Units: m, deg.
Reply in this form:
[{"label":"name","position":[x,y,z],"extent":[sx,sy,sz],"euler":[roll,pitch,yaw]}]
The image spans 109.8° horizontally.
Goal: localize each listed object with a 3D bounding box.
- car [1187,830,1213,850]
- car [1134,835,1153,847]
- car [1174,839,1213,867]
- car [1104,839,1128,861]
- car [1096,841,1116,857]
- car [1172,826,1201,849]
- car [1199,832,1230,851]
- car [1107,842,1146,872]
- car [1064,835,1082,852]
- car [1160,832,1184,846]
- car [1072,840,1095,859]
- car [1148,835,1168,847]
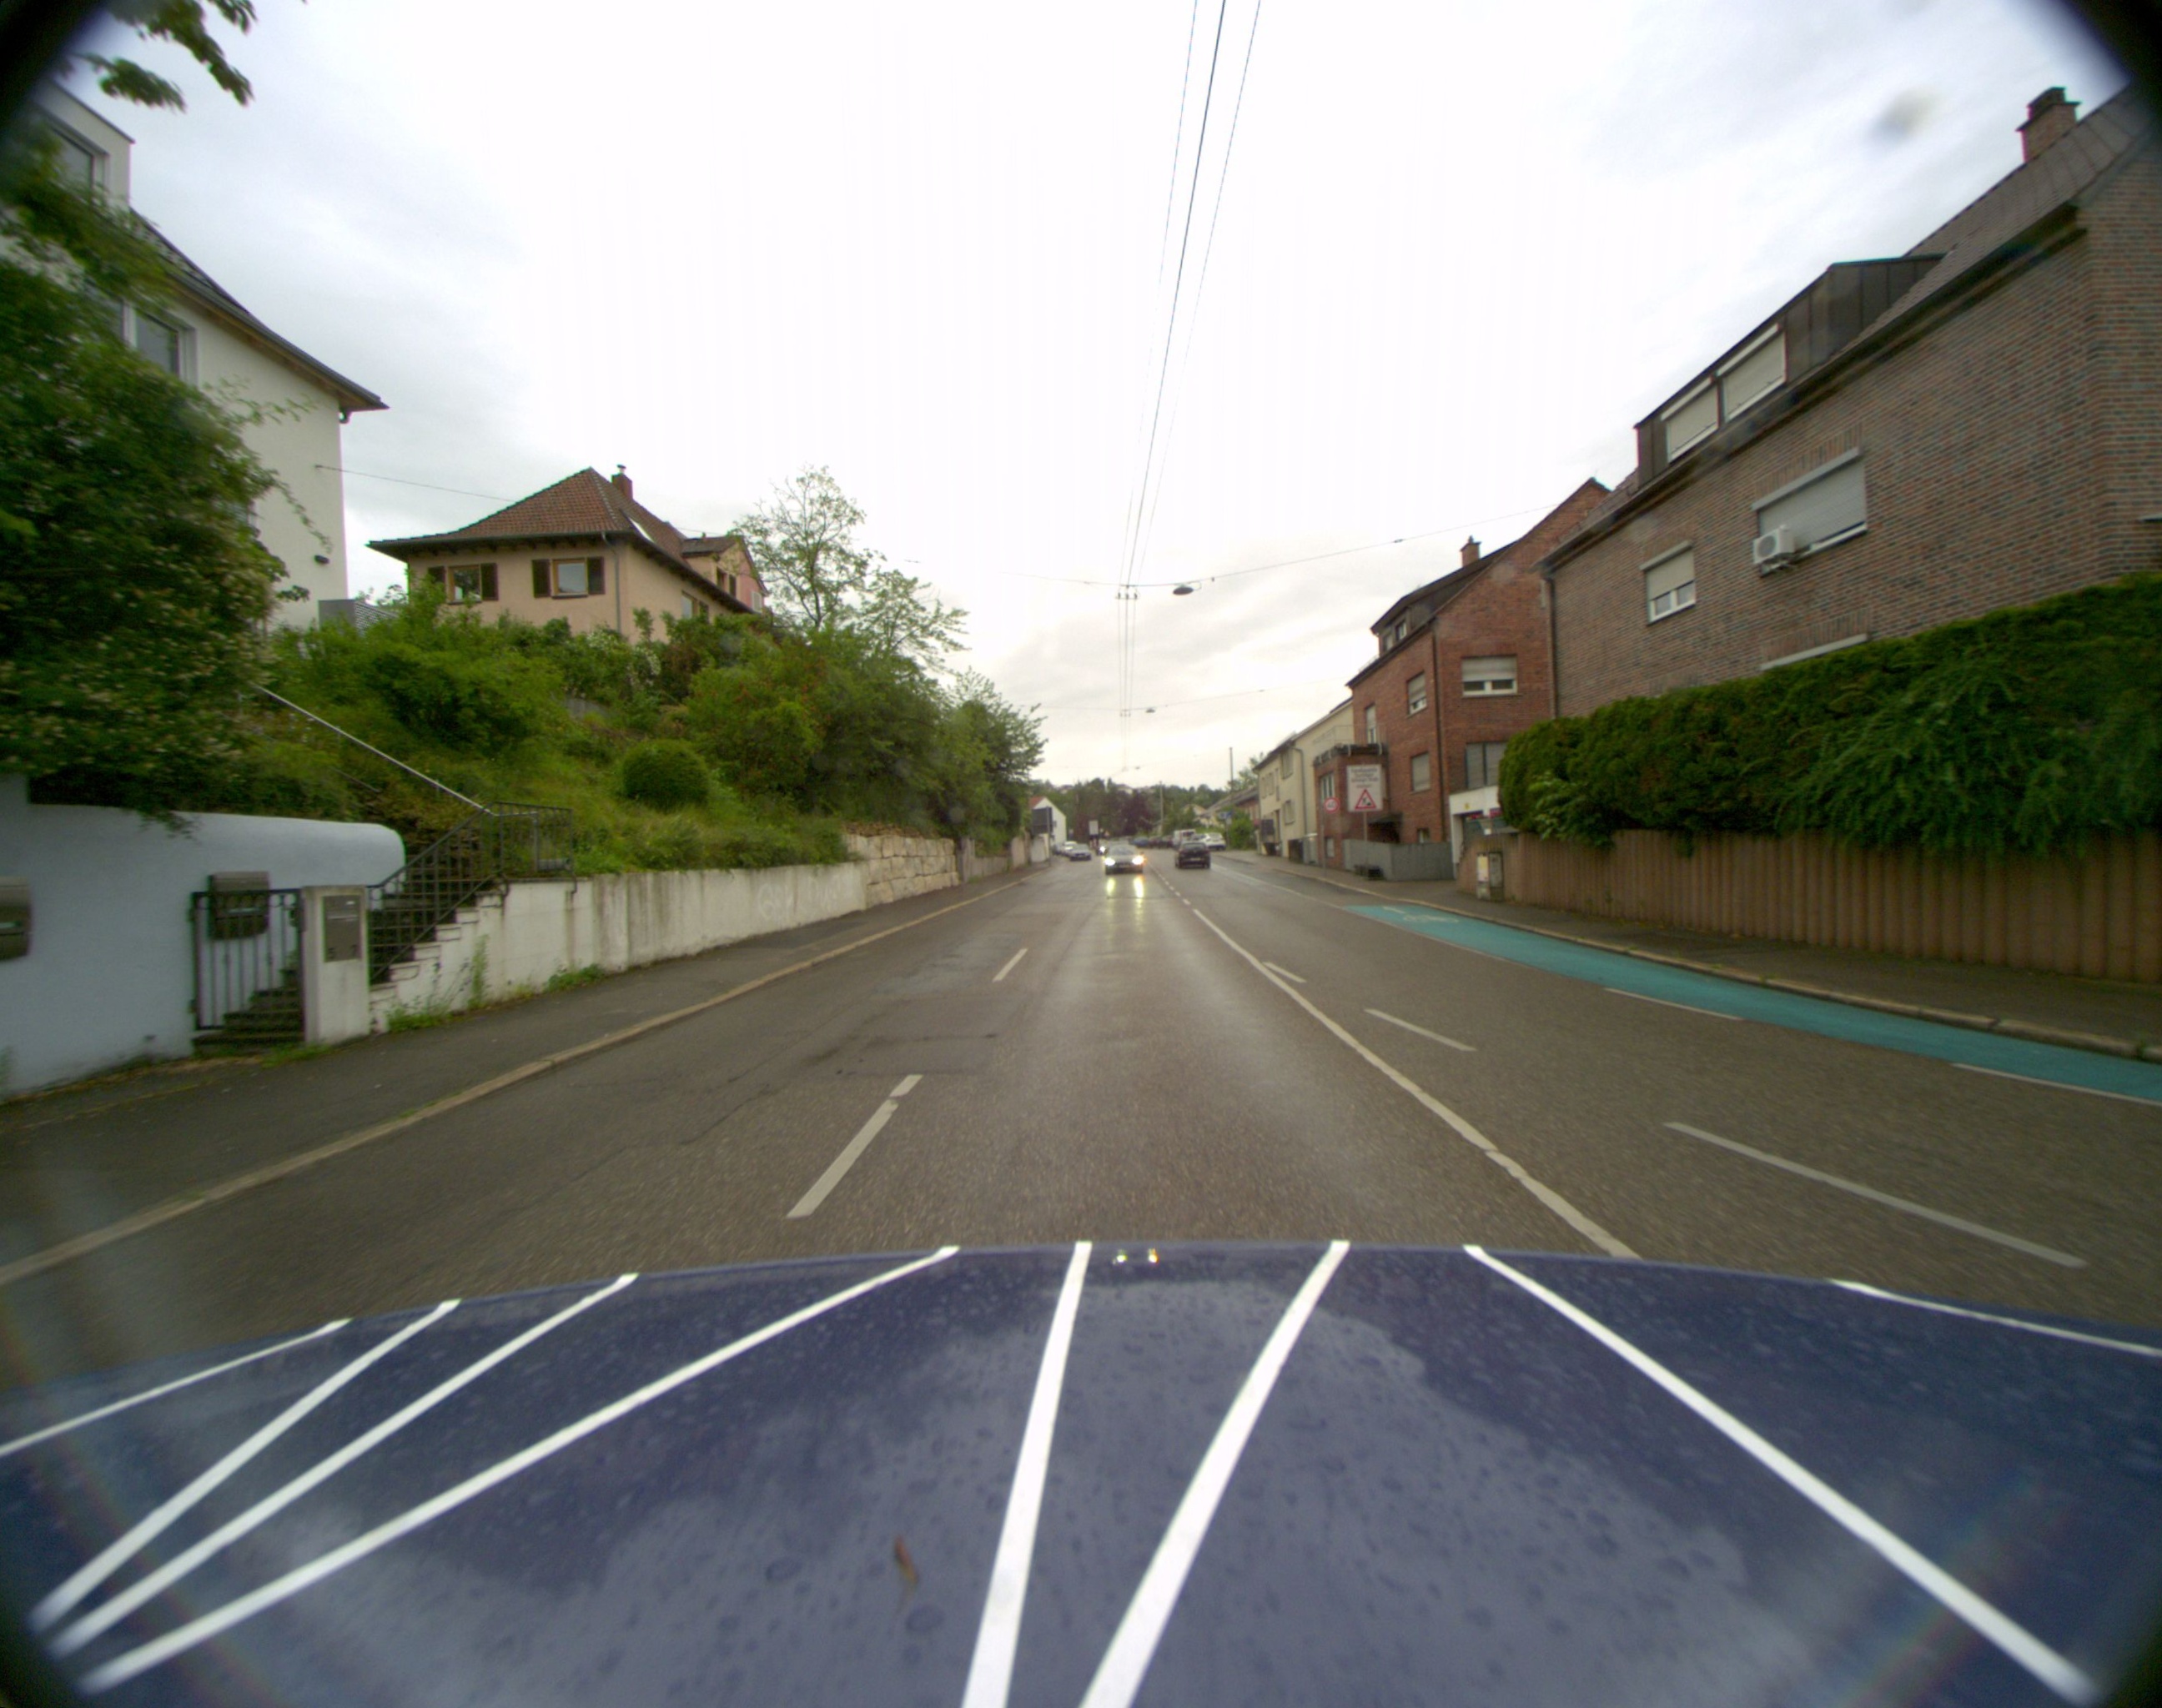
[{"label":"car","position":[12.047,-1.406,77.185],"extent":[1.815,1.793,4.262],"euler":[-3,1,-1]},{"label":"car","position":[8.224,-1.646,99.657],"extent":[1.624,1.482,3.900],"euler":[-3,1,-7]},{"label":"car","position":[6.174,-0.082,42.180],"extent":[1.919,1.438,3.719],"euler":[-1,1,5]},{"label":"car","position":[2.743,-0.331,59.679],"extent":[1.789,1.580,3.783],"euler":[-1,1,2]},{"label":"car","position":[2.699,-0.556,82.393],"extent":[1.999,1.678,3.999],"euler":[-1,1,-1]},{"label":"car","position":[11.506,-1.798,83.198],"extent":[2.258,2.273,4.545],"euler":[-3,1,-2]},{"label":"car","position":[12.055,-1.095,69.029],"extent":[1.946,1.557,4.262],"euler":[-3,1,-1]},{"label":"car","position":[2.334,0.127,39.951],"extent":[1.870,1.407,4.000],"euler":[-1,1,2]},{"label":"car","position":[-0.885,-1.204,85.142],"extent":[1.821,1.855,4.037],"euler":[-1,2,-3]},{"label":"car","position":[10.595,-1.740,88.498],"extent":[1.654,1.482,4.008],"euler":[-4,1,-9]},{"label":"car","position":[0.287,-0.417,69.553],"extent":[2.003,1.596,4.359],"euler":[-2,-1,1]},{"label":"car","position":[9.515,-1.633,94.382],"extent":[1.654,1.388,3.858],"euler":[-3,1,-7]}]
